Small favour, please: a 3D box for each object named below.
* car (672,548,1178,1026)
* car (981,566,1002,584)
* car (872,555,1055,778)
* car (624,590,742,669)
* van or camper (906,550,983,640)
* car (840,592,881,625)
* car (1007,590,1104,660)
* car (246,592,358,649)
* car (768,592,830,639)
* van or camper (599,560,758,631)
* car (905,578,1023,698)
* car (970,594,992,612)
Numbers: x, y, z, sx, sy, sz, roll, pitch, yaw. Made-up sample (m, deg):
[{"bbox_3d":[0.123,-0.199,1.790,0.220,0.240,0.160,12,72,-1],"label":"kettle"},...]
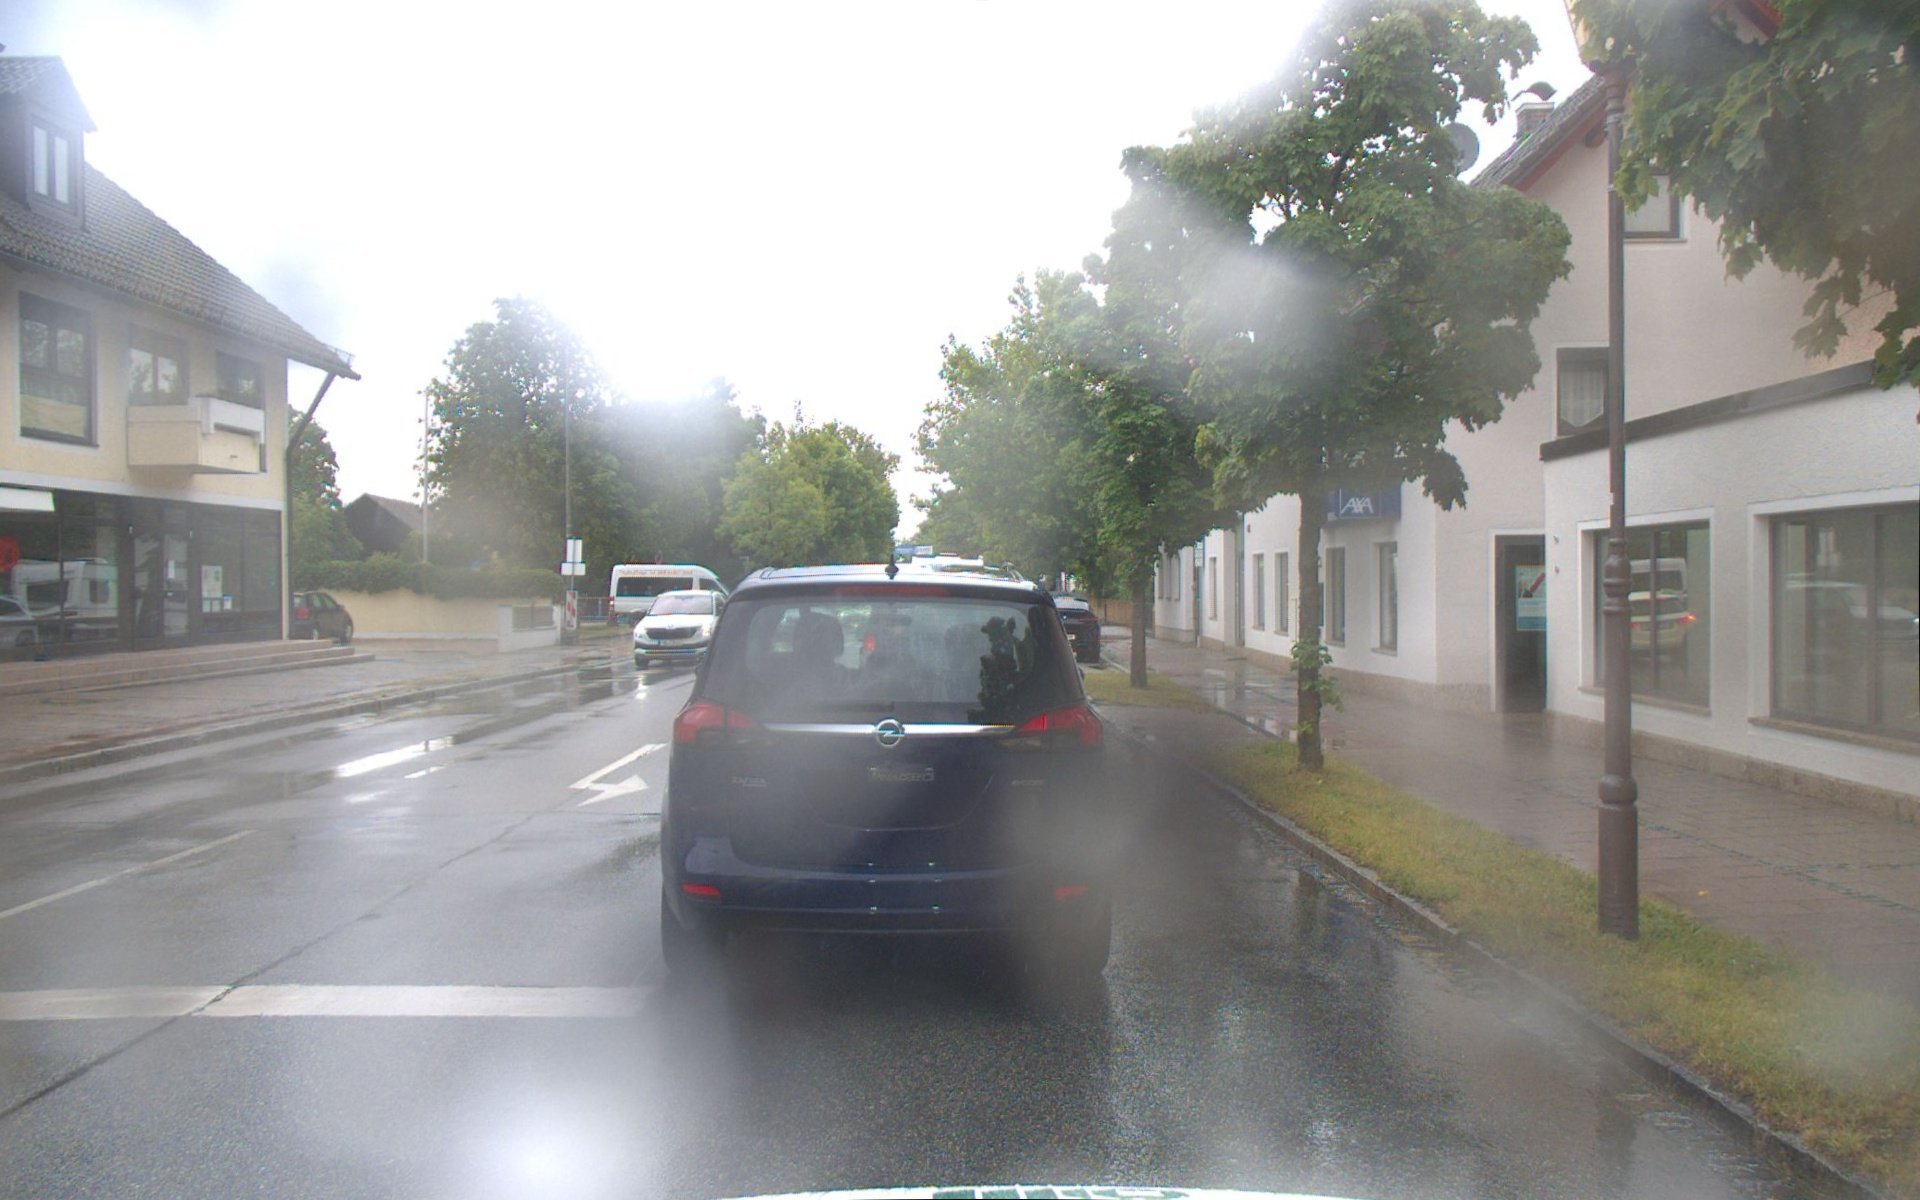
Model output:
[{"bbox_3d":[-0.140,0.649,7.601,1.733,1.632,3.662,1,0,-1],"label":"car"},{"bbox_3d":[2.626,-2.059,138.869,1.597,1.402,3.622,-1,0,-1],"label":"car"},{"bbox_3d":[0.009,0.545,15.195,1.470,1.807,3.111,1,0,-1],"label":"car"},{"bbox_3d":[-6.035,0.609,36.458,1.927,1.590,4.151,-1,0,-1],"label":"car"},{"bbox_3d":[-0.506,-0.160,53.047,2.312,2.712,5.370,0,0,-1],"label":"van or camper"},{"bbox_3d":[-4.914,0.420,81.857,1.716,1.538,4.230,-2,0,0],"label":"car"},{"bbox_3d":[2.310,0.597,40.989,2.075,1.609,3.934,1,0,-1],"label":"car"},{"bbox_3d":[-17.482,0.521,44.065,1.574,1.404,3.508,-1,0,-1],"label":"car"},{"bbox_3d":[-5.676,0.513,58.754,1.887,1.594,4.125,-1,0,-1],"label":"car"},{"bbox_3d":[-11.176,-0.182,66.030,6.128,2.754,2.098,0,0,-6],"label":"van or camper"},{"bbox_3d":[0.038,0.545,25.912,1.720,1.736,3.618,0,0,-1],"label":"car"},{"bbox_3d":[1.610,0.260,129.641,1.597,1.402,3.622,1,-1,-1],"label":"car"}]
